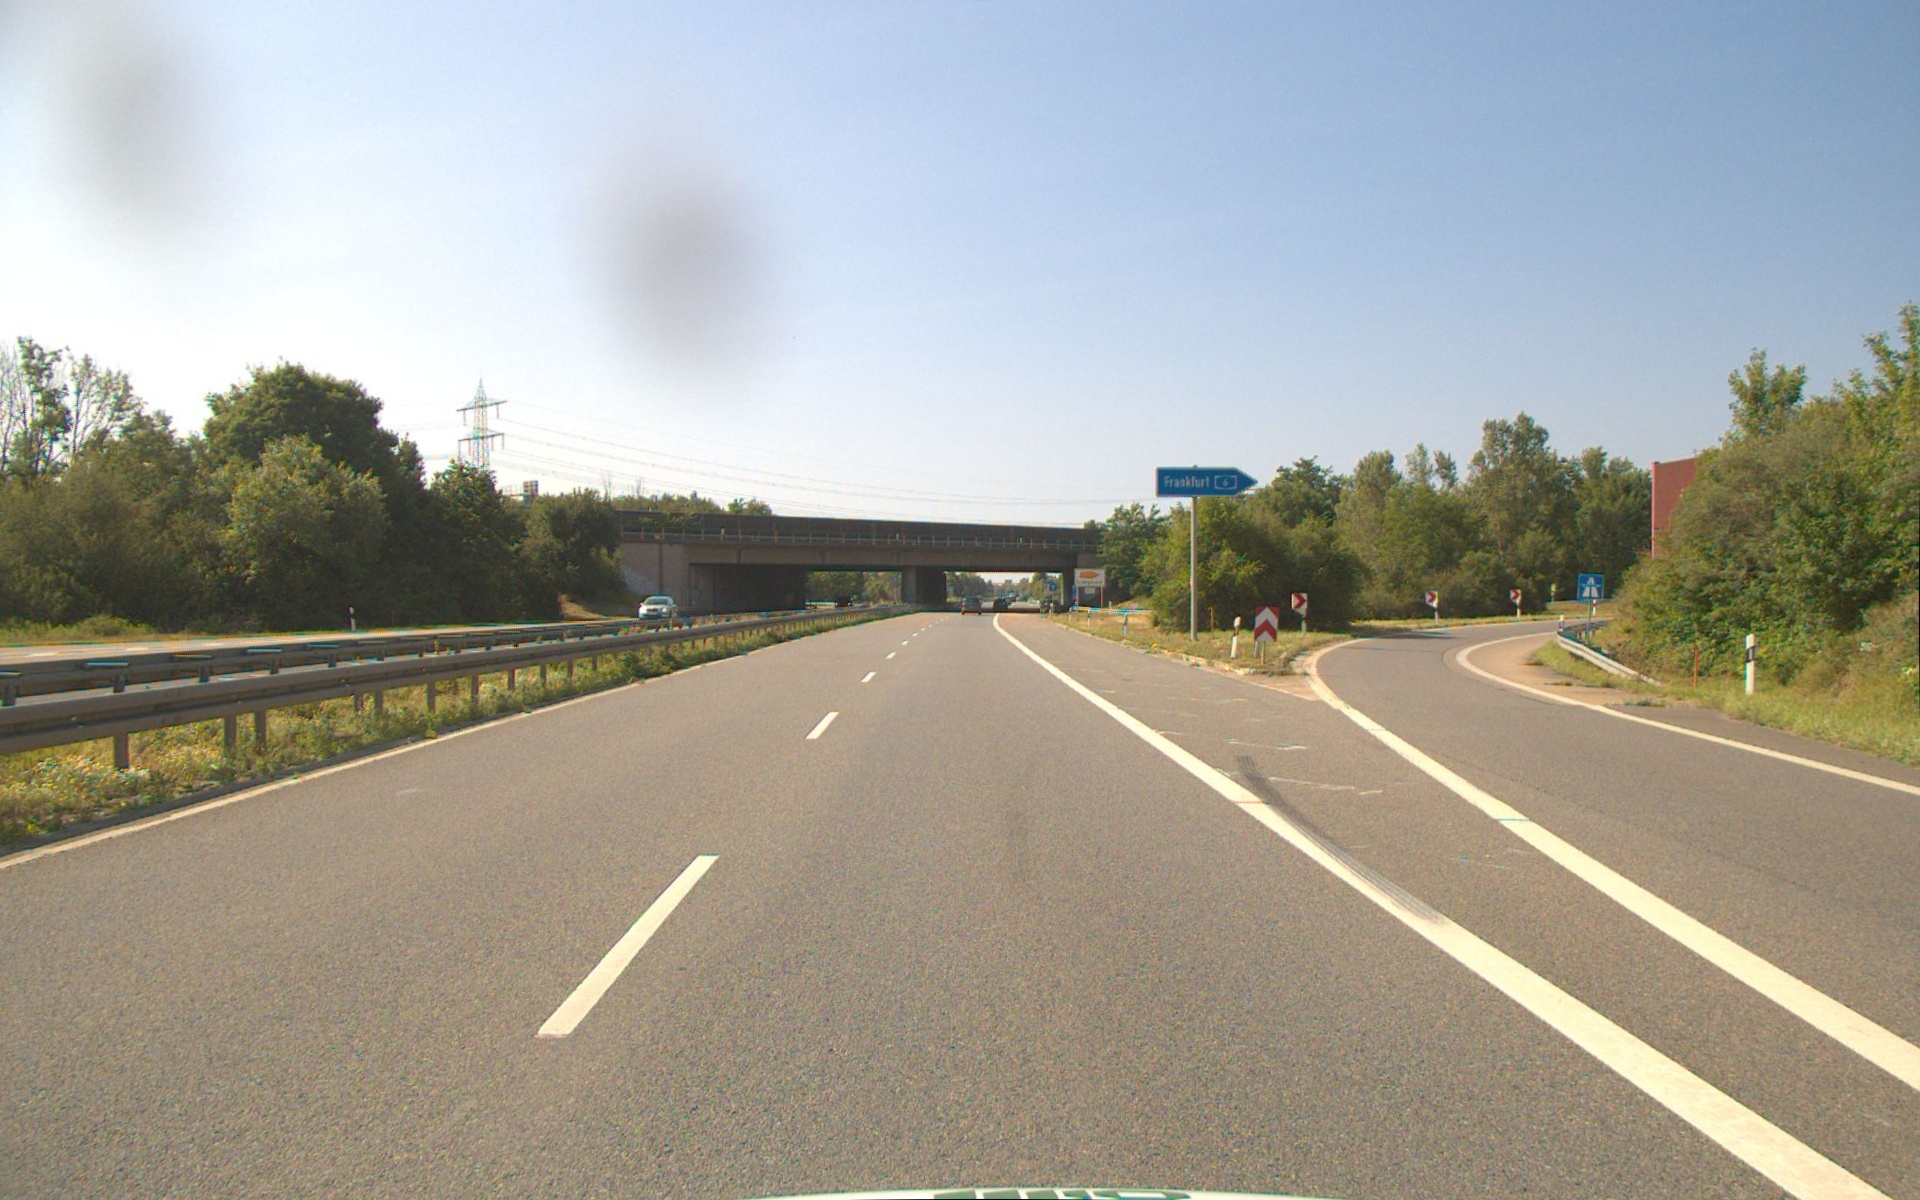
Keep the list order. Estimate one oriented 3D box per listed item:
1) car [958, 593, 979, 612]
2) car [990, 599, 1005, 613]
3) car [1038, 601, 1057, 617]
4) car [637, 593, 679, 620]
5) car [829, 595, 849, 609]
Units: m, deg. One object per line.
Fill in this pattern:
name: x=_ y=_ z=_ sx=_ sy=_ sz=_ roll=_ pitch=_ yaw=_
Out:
car: x=0.750 y=0.243 z=149.036 sx=1.812 sy=1.673 sz=4.000 roll=1 pitch=0 yaw=1
car: x=4.601 y=0.777 z=203.453 sx=1.812 sy=1.673 sz=4.000 roll=1 pitch=0 yaw=1
car: x=9.133 y=0.952 z=172.869 sx=1.812 sy=1.673 sz=4.000 roll=1 pitch=0 yaw=1
car: x=-17.030 y=0.328 z=93.341 sx=1.640 sy=1.434 sz=3.762 roll=2 pitch=0 yaw=0
car: x=-13.504 y=0.216 z=184.676 sx=1.922 sy=1.434 sz=3.636 roll=-1 pitch=0 yaw=0
